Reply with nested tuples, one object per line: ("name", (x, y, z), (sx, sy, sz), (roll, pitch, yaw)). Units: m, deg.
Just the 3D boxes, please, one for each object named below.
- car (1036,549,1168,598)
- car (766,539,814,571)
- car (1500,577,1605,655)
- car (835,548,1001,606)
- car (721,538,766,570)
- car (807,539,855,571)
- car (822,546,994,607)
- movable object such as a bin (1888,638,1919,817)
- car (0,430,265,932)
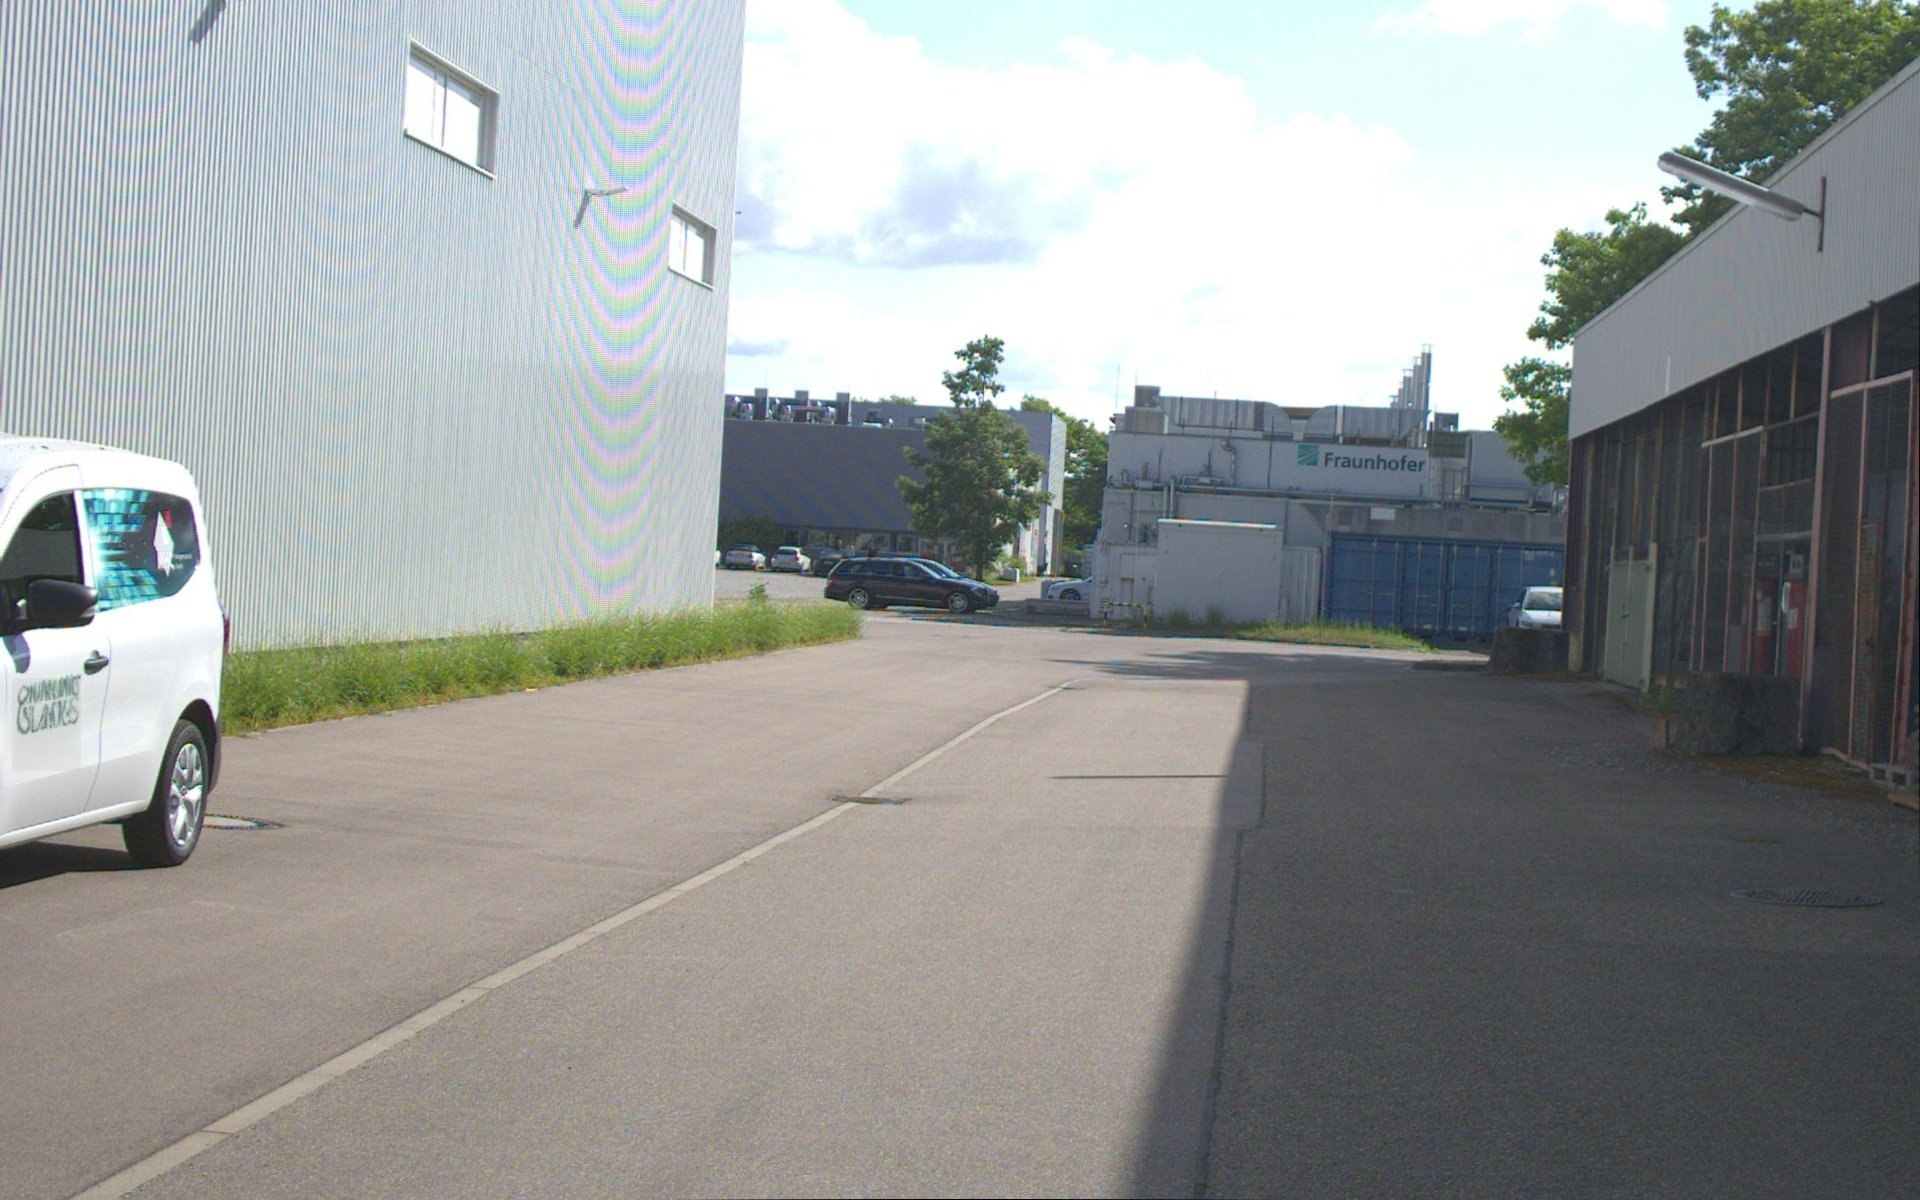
("car", (5.100, -0.956, 122.850), (4.527, 1.503, 1.908), (3, 1, 6))
("car", (-9.586, -2.541, 194.033), (2.194, 1.730, 3.999), (1, 0, 4))
("car", (14.010, 0.354, 81.505), (1.994, 1.580, 4.172), (3, 2, 4))
("car", (-1.192, -0.668, 98.976), (4.527, 1.503, 1.908), (2, 1, 7))
("car", (-12.191, -2.569, 193.930), (1.994, 1.730, 3.999), (1, 0, 4))
("car", (-7.187, -2.509, 192.092), (2.194, 1.730, 3.999), (1, 0, 4))
("car", (-1.439, -0.659, 95.748), (4.527, 1.503, 1.908), (2, 1, 7))
("movable object such as a bin", (6.713, 0.864, 23.432), (0.582, 1.160, 1.237), (2, 1, 9))
("car", (-4.339, 0.217, 13.499), (1.891, 1.839, 4.358), (5, 1, 4))
